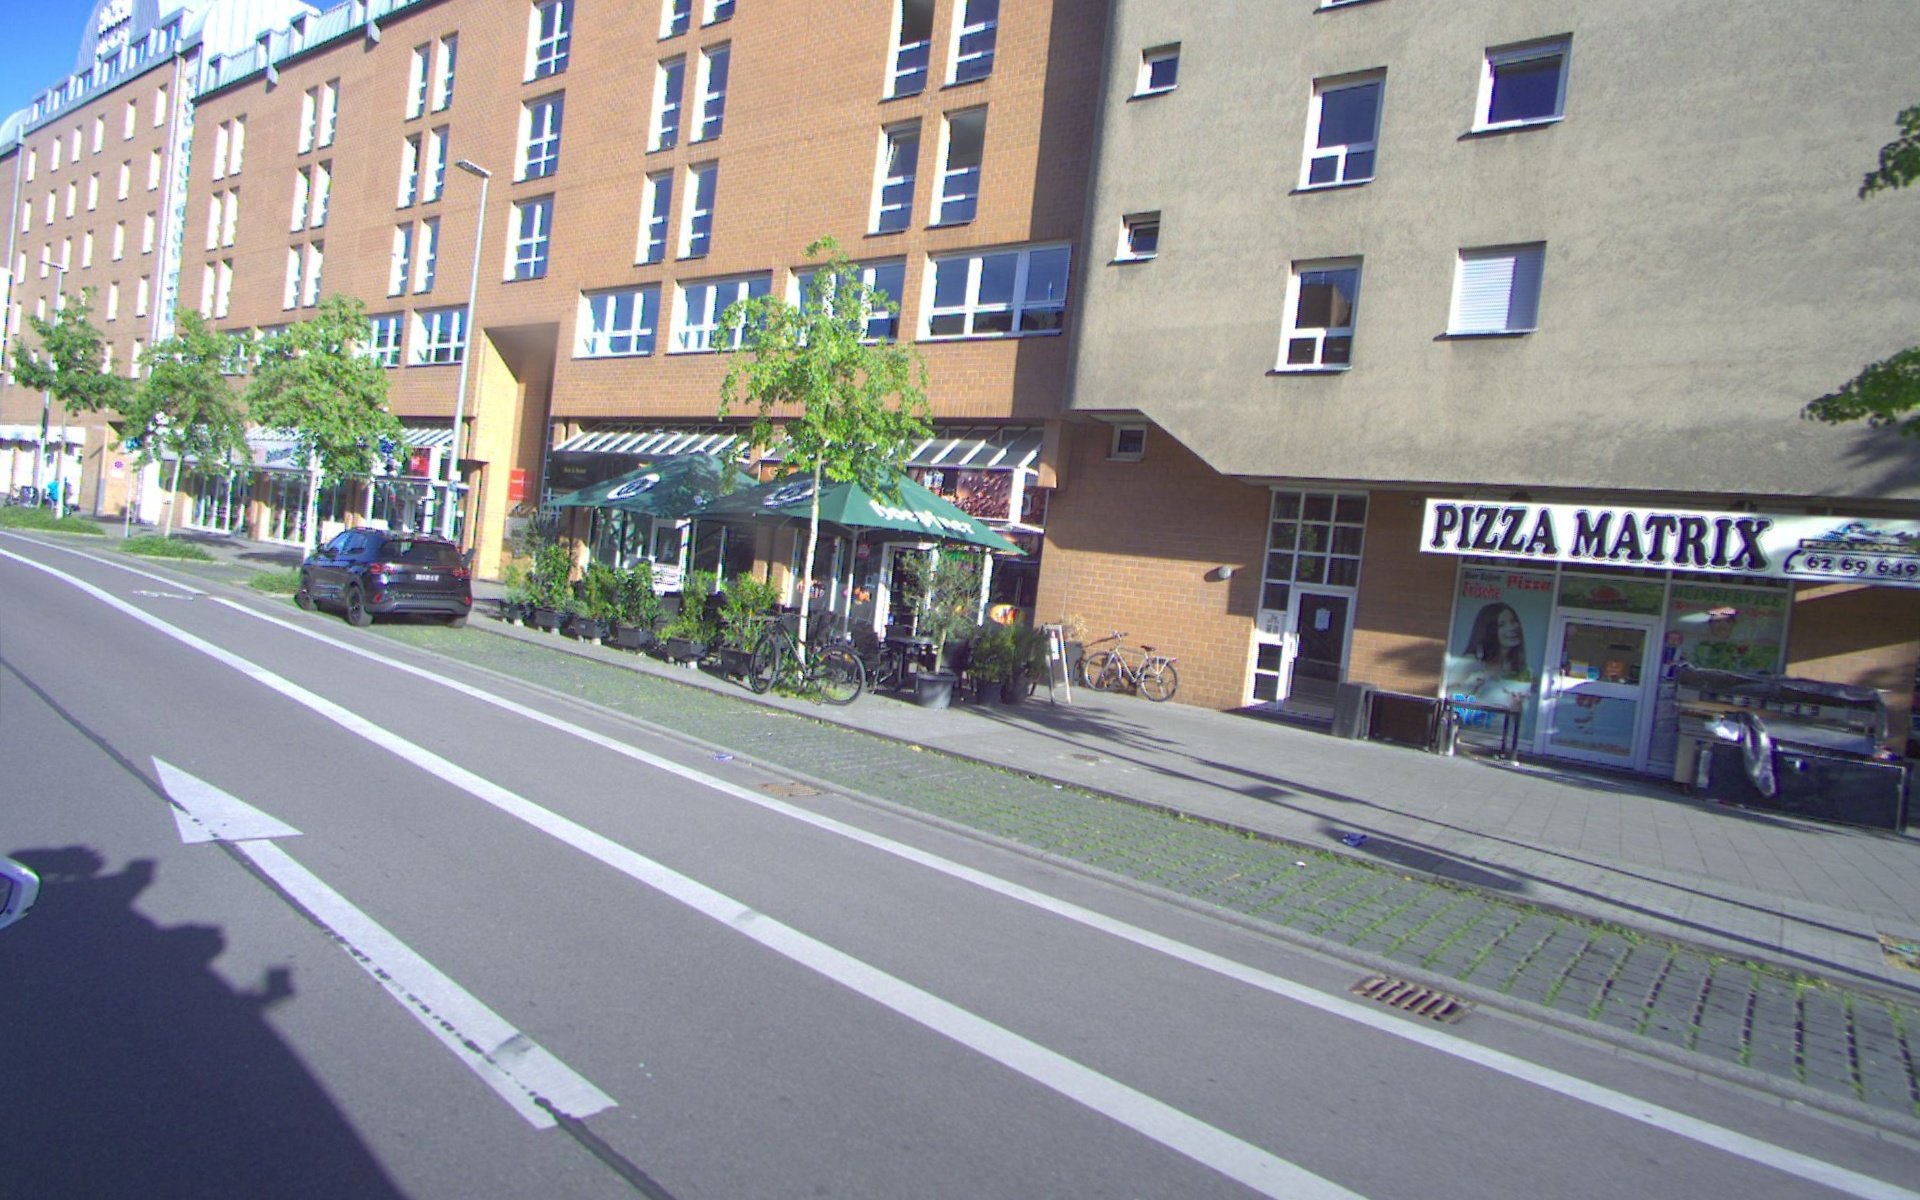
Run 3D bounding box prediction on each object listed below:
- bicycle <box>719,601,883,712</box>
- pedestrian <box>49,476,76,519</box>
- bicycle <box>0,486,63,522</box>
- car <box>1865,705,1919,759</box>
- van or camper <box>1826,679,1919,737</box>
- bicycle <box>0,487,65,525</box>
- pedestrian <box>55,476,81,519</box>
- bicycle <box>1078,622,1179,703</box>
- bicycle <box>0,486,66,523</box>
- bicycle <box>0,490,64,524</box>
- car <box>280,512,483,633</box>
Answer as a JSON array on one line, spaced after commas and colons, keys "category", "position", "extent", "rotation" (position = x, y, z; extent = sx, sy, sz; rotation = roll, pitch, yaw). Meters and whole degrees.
[{"category": "bicycle", "position": [-2.002, 0.661, 12.549], "extent": [1.964, 1.097, 0.764], "rotation": [6, 6, 31]}, {"category": "pedestrian", "position": [-40.339, -4.611, 45.207], "extent": [0.736, 1.844, 0.606], "rotation": [7, 2, 33]}, {"category": "bicycle", "position": [-33.028, -3.401, 35.540], "extent": [1.935, 1.035, 0.496], "rotation": [5, 2, -39]}, {"category": "car", "position": [31.368, 4.372, 32.564], "extent": [1.761, 1.607, 4.000], "rotation": [8, -1, 24]}, {"category": "van or camper", "position": [50.465, 5.911, 54.480], "extent": [4.797, 2.558, 1.821], "rotation": [8, 0, 21]}, {"category": "bicycle", "position": [-34.174, -3.466, 36.914], "extent": [0.484, 1.152, 1.939], "rotation": [8, 2, 44]}, {"category": "pedestrian", "position": [-40.938, -4.717, 46.182], "extent": [0.736, 1.844, 0.606], "rotation": [8, 2, 33]}, {"category": "bicycle", "position": [2.944, 1.074, 17.619], "extent": [1.511, 1.185, 0.614], "rotation": [8, 3, 31]}, {"category": "bicycle", "position": [-33.808, -3.463, 36.536], "extent": [0.547, 1.089, 1.939], "rotation": [8, 2, 44]}, {"category": "bicycle", "position": [-33.367, -3.319, 35.964], "extent": [1.935, 0.982, 0.548], "rotation": [5, 2, -39]}, {"category": "car", "position": [-10.243, -0.524, 17.679], "extent": [4.170, 1.658, 1.718], "rotation": [7, 2, 40]}]
